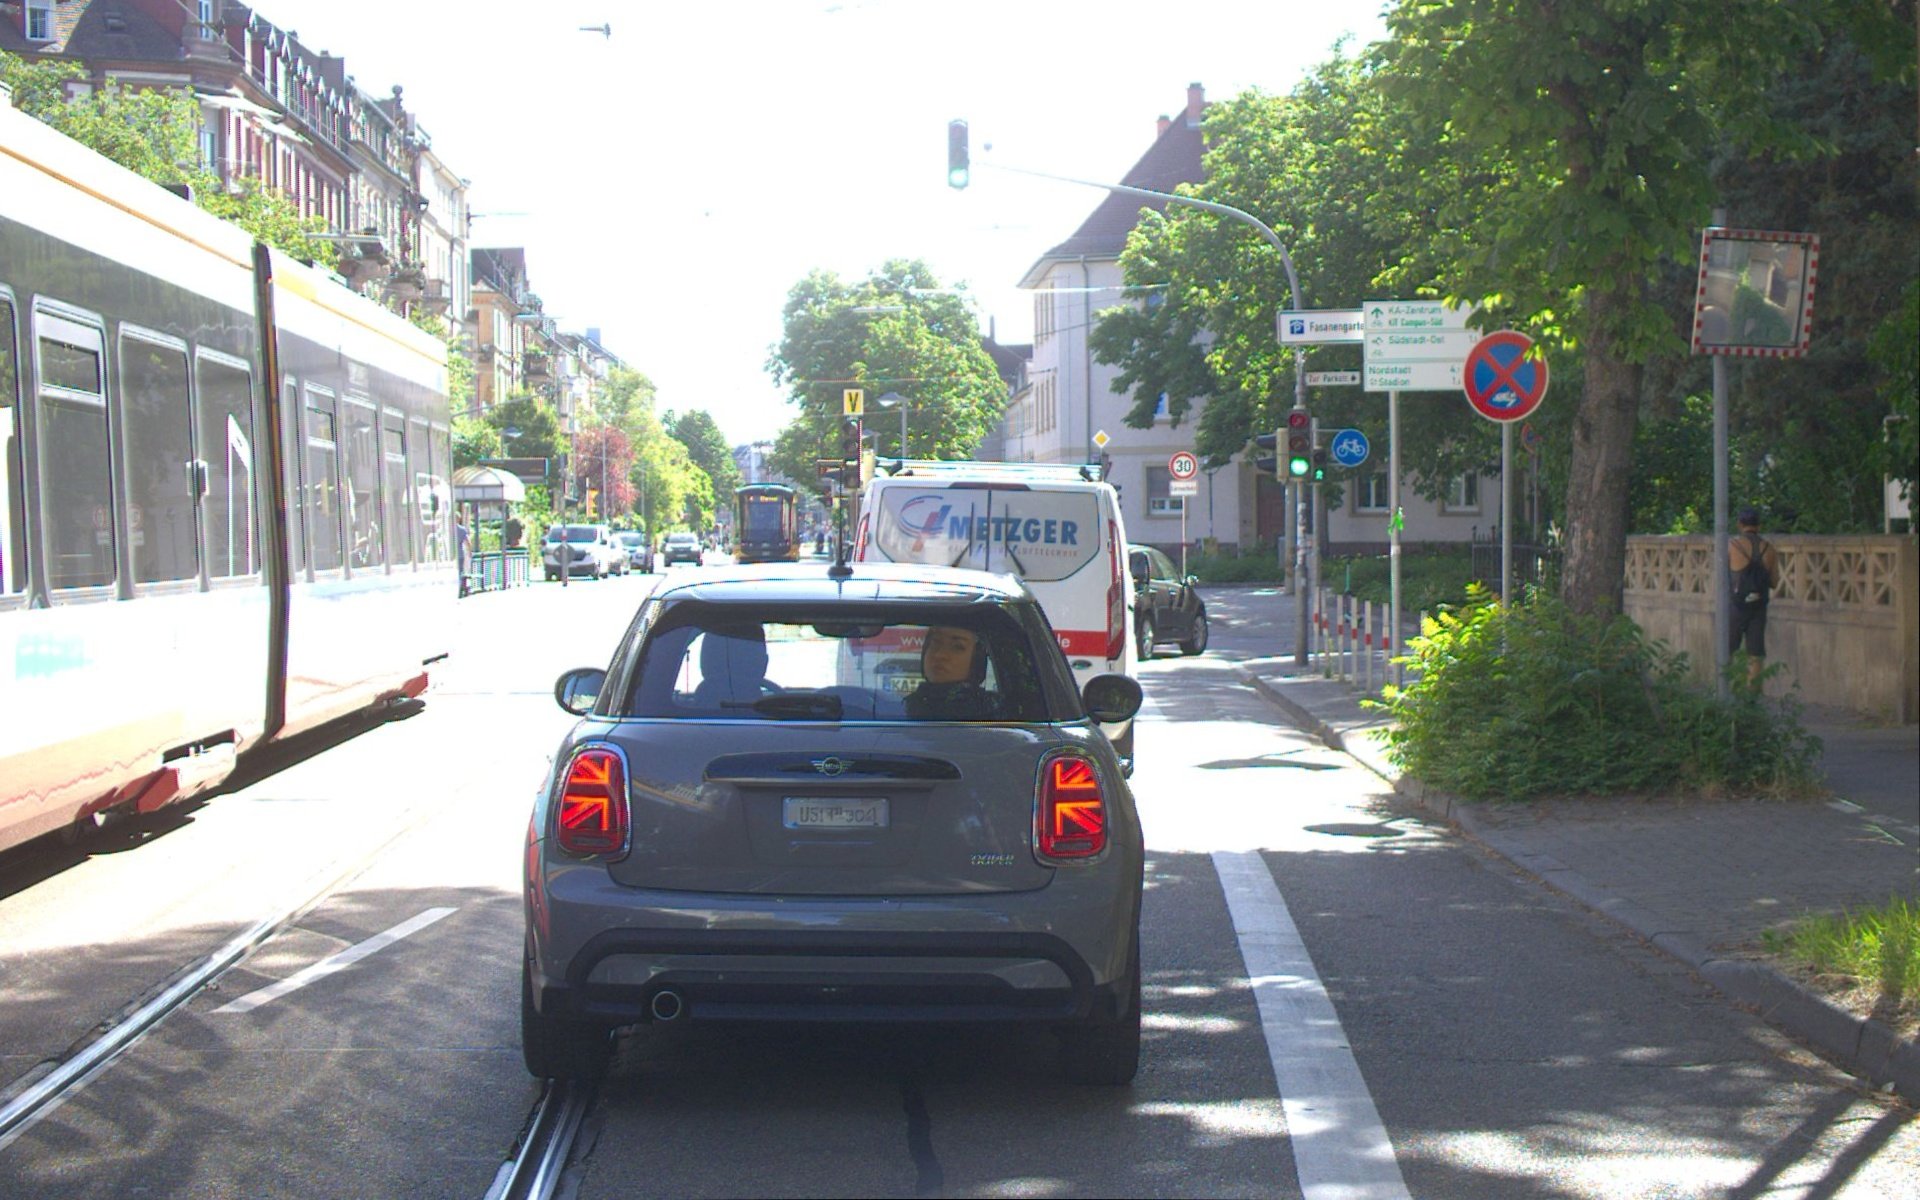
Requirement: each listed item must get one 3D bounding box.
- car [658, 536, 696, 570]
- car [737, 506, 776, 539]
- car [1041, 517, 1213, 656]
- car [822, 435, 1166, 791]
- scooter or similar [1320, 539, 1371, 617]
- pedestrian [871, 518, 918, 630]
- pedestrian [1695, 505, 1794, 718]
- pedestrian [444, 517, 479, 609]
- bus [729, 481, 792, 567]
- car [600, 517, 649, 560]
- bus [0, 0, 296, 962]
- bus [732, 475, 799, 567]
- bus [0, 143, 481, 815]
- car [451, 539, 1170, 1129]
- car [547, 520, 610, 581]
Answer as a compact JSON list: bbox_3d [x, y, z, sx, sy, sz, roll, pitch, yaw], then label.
[{"bbox_3d":[-13.862,-2.319,168.740,1.775,1.612,4.001,1,1,-4],"label":"car"},{"bbox_3d":[-10.040,-3.801,169.096,1.863,1.558,4.001,1,1,-4],"label":"car"},{"bbox_3d":[2.123,-0.193,44.725,1.993,1.700,4.000,1,1,0],"label":"car"},{"bbox_3d":[0.184,0.056,23.975,2.118,2.200,4.945,1,1,-1],"label":"car"},{"bbox_3d":[6.592,-0.376,58.838,0.676,1.305,1.329,1,0,-1],"label":"scooter or similar"},{"bbox_3d":[-1.186,-0.465,62.148,0.795,2.007,0.740,1,0,-2],"label":"pedestrian"},{"bbox_3d":[6.266,0.086,27.480,0.592,1.665,0.647,-2,0,-1],"label":"pedestrian"},{"bbox_3d":[-9.850,-0.735,67.933,0.577,1.789,0.608,-1,1,-19],"label":"pedestrian"},{"bbox_3d":[-8.361,-3.121,143.375,2.385,3.484,7.385,1,1,-5],"label":"bus"},{"bbox_3d":[-13.134,-2.387,134.657,1.775,1.612,4.001,1,1,-4],"label":"car"},{"bbox_3d":[-4.911,-0.625,13.759,2.859,3.764,11.185,1,1,-3],"label":"bus"},{"bbox_3d":[-7.723,-3.074,135.962,2.385,3.484,7.385,1,1,-5],"label":"bus"},{"bbox_3d":[-5.530,-0.751,25.425,2.849,3.764,12.199,1,1,-3],"label":"bus"},{"bbox_3d":[-0.405,0.579,10.780,1.815,1.483,4.000,1,1,-1],"label":"car"},{"bbox_3d":[-13.179,-1.705,119.071,1.993,2.007,5.030,1,1,-5],"label":"car"}]
